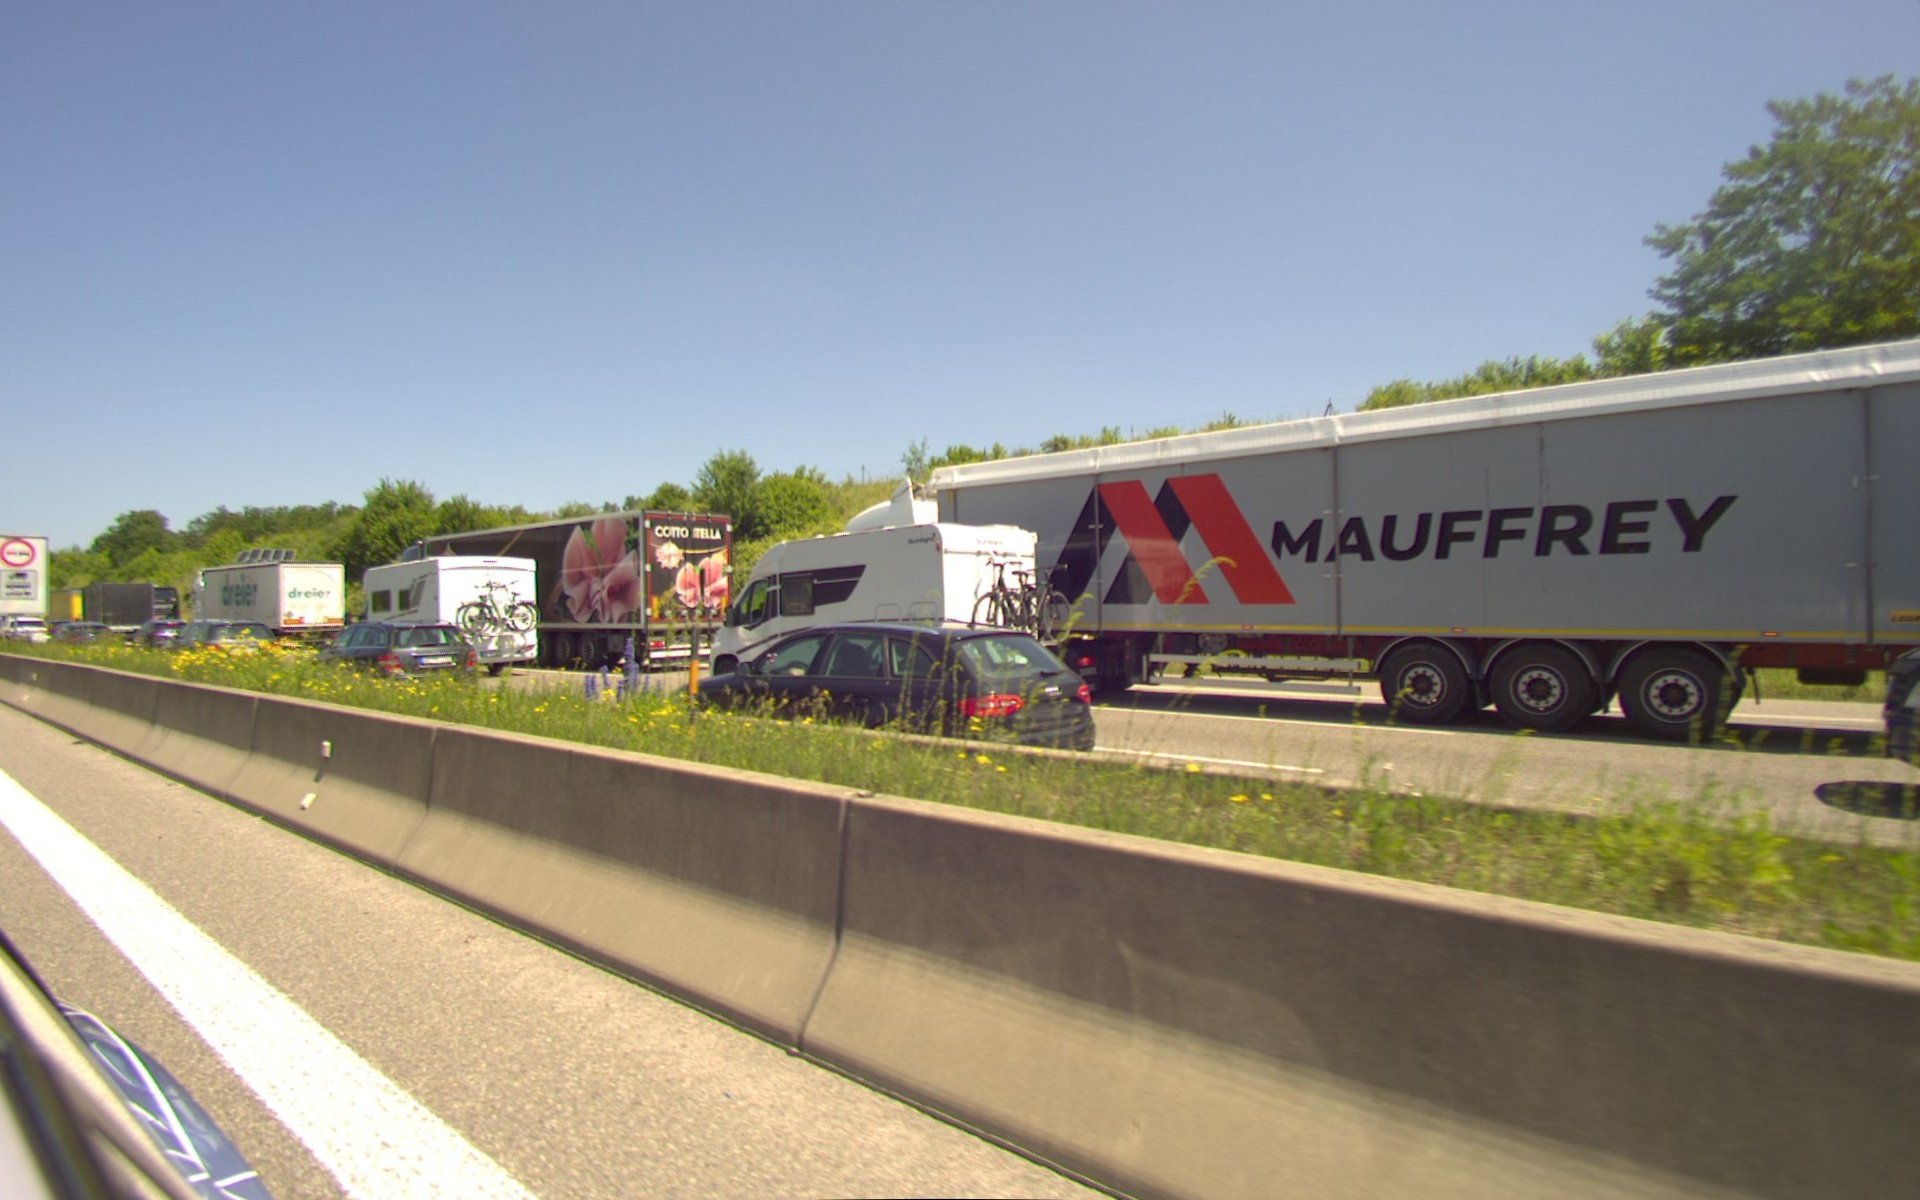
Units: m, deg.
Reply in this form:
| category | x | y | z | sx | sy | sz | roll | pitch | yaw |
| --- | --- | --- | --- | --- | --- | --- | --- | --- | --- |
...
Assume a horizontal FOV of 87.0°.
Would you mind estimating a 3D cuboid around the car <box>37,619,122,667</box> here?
| category | x | y | z | sx | sy | sz | roll | pitch | yaw |
| --- | --- | --- | --- | --- | --- | --- | --- | --- | --- |
| car | -33.578 | 1.578 | 38.559 | 5.028 | 1.646 | 1.793 | -1 | 0 | 41 |

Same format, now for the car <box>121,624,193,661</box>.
| category | x | y | z | sx | sy | sz | roll | pitch | yaw |
| --- | --- | --- | --- | --- | --- | --- | --- | --- | --- |
| car | -37.047 | 1.934 | 46.639 | 4.827 | 1.548 | 1.793 | -1 | 0 | 41 |

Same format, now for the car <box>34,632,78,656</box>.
| category | x | y | z | sx | sy | sz | roll | pitch | yaw |
| --- | --- | --- | --- | --- | --- | --- | --- | --- | --- |
| car | -62.629 | 3.025 | 70.082 | 4.758 | 1.560 | 1.757 | -1 | -1 | 41 |

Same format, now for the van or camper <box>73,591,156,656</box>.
| category | x | y | z | sx | sy | sz | roll | pitch | yaw |
| --- | --- | --- | --- | --- | --- | --- | --- | --- | --- |
| van or camper | -46.938 | 1.262 | 56.101 | 7.942 | 3.385 | 2.502 | -1 | 0 | 43 |

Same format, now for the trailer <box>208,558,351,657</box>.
| category | x | y | z | sx | sy | sz | roll | pitch | yaw |
| --- | --- | --- | --- | --- | --- | --- | --- | --- | --- |
| trailer | -33.183 | 0.400 | 49.082 | 11.703 | 4.338 | 2.753 | -1 | -1 | 41 |

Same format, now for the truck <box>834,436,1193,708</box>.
| category | x | y | z | sx | sy | sz | roll | pitch | yaw |
| --- | --- | --- | --- | --- | --- | --- | --- | --- | --- |
| truck | 0.808 | -0.412 | 18.547 | 6.138 | 4.159 | 2.772 | -1 | 0 | 41 |

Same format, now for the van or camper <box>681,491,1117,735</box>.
| category | x | y | z | sx | sy | sz | roll | pitch | yaw |
| --- | --- | --- | --- | --- | --- | --- | --- | --- | --- |
| van or camper | -1.271 | 0.188 | 15.436 | 7.221 | 2.945 | 2.128 | -1 | 0 | 41 |

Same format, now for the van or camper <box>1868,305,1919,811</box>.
| category | x | y | z | sx | sy | sz | roll | pitch | yaw |
| --- | --- | --- | --- | --- | --- | --- | --- | --- | --- |
| van or camper | 9.983 | -0.319 | 5.292 | 7.675 | 3.416 | 2.289 | -1 | -1 | 41 |

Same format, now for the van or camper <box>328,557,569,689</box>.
| category | x | y | z | sx | sy | sz | roll | pitch | yaw |
| --- | --- | --- | --- | --- | --- | --- | --- | --- | --- |
| van or camper | -13.585 | 0.543 | 26.477 | 8.109 | 2.970 | 2.812 | -1 | 0 | 41 |

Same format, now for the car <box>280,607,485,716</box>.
| category | x | y | z | sx | sy | sz | roll | pitch | yaw |
| --- | --- | --- | --- | --- | --- | --- | --- | --- | --- |
| car | -10.822 | 1.032 | 18.807 | 4.971 | 1.743 | 1.793 | -1 | 0 | 41 |

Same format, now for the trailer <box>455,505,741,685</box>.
| category | x | y | z | sx | sy | sz | roll | pitch | yaw |
| --- | --- | --- | --- | --- | --- | --- | --- | --- | --- |
| trailer | -10.629 | -0.069 | 28.736 | 10.788 | 4.272 | 2.760 | -1 | 0 | 41 |

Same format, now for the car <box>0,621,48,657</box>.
| category | x | y | z | sx | sy | sz | roll | pitch | yaw |
| --- | --- | --- | --- | --- | --- | --- | --- | --- | --- |
| car | -46.556 | 1.896 | 49.891 | 5.028 | 1.646 | 1.793 | -1 | 0 | 41 |

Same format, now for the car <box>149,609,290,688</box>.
| category | x | y | z | sx | sy | sz | roll | pitch | yaw |
| --- | --- | --- | --- | --- | --- | --- | --- | --- | --- |
| car | -19.243 | 1.173 | 26.188 | 5.541 | 1.823 | 1.793 | -1 | 0 | 41 |

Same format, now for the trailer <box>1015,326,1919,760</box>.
| category | x | y | z | sx | sy | sz | roll | pitch | yaw |
| --- | --- | --- | --- | --- | --- | --- | --- | --- | --- |
| trailer | 6.426 | -0.492 | 13.583 | 12.245 | 4.064 | 2.752 | -1 | 0 | 41 |

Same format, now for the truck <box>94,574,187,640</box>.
| category | x | y | z | sx | sy | sz | roll | pitch | yaw |
| --- | --- | --- | --- | --- | --- | --- | --- | --- | --- |
| truck | -56.600 | 0.514 | 69.774 | 11.481 | 4.253 | 3.024 | -1 | 0 | 41 |

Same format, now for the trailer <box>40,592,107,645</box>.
| category | x | y | z | sx | sy | sz | roll | pitch | yaw |
| --- | --- | --- | --- | --- | --- | --- | --- | --- | --- |
| trailer | -74.107 | 1.540 | 84.468 | 11.850 | 4.175 | 2.623 | -1 | 0 | 41 |

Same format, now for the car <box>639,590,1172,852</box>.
| category | x | y | z | sx | sy | sz | roll | pitch | yaw |
| --- | --- | --- | --- | --- | --- | --- | --- | --- | --- |
| car | -0.740 | 0.832 | 9.086 | 4.933 | 1.743 | 1.793 | -1 | 0 | 41 |

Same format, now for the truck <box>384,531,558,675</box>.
| category | x | y | z | sx | sy | sz | roll | pitch | yaw |
| --- | --- | --- | --- | --- | --- | --- | --- | --- | --- |
| truck | -16.479 | 0.139 | 33.899 | 7.026 | 4.338 | 2.752 | -1 | -1 | 41 |

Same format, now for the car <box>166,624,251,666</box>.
| category | x | y | z | sx | sy | sz | roll | pitch | yaw |
| --- | --- | --- | --- | --- | --- | --- | --- | --- | --- |
| car | -30.884 | 1.814 | 41.544 | 4.996 | 1.555 | 1.793 | -1 | 0 | 41 |

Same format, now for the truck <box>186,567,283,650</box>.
| category | x | y | z | sx | sy | sz | roll | pitch | yaw |
| --- | --- | --- | --- | --- | --- | --- | --- | --- | --- |
| truck | -38.794 | 0.487 | 54.032 | 7.027 | 4.145 | 2.752 | -1 | -1 | 42 |
